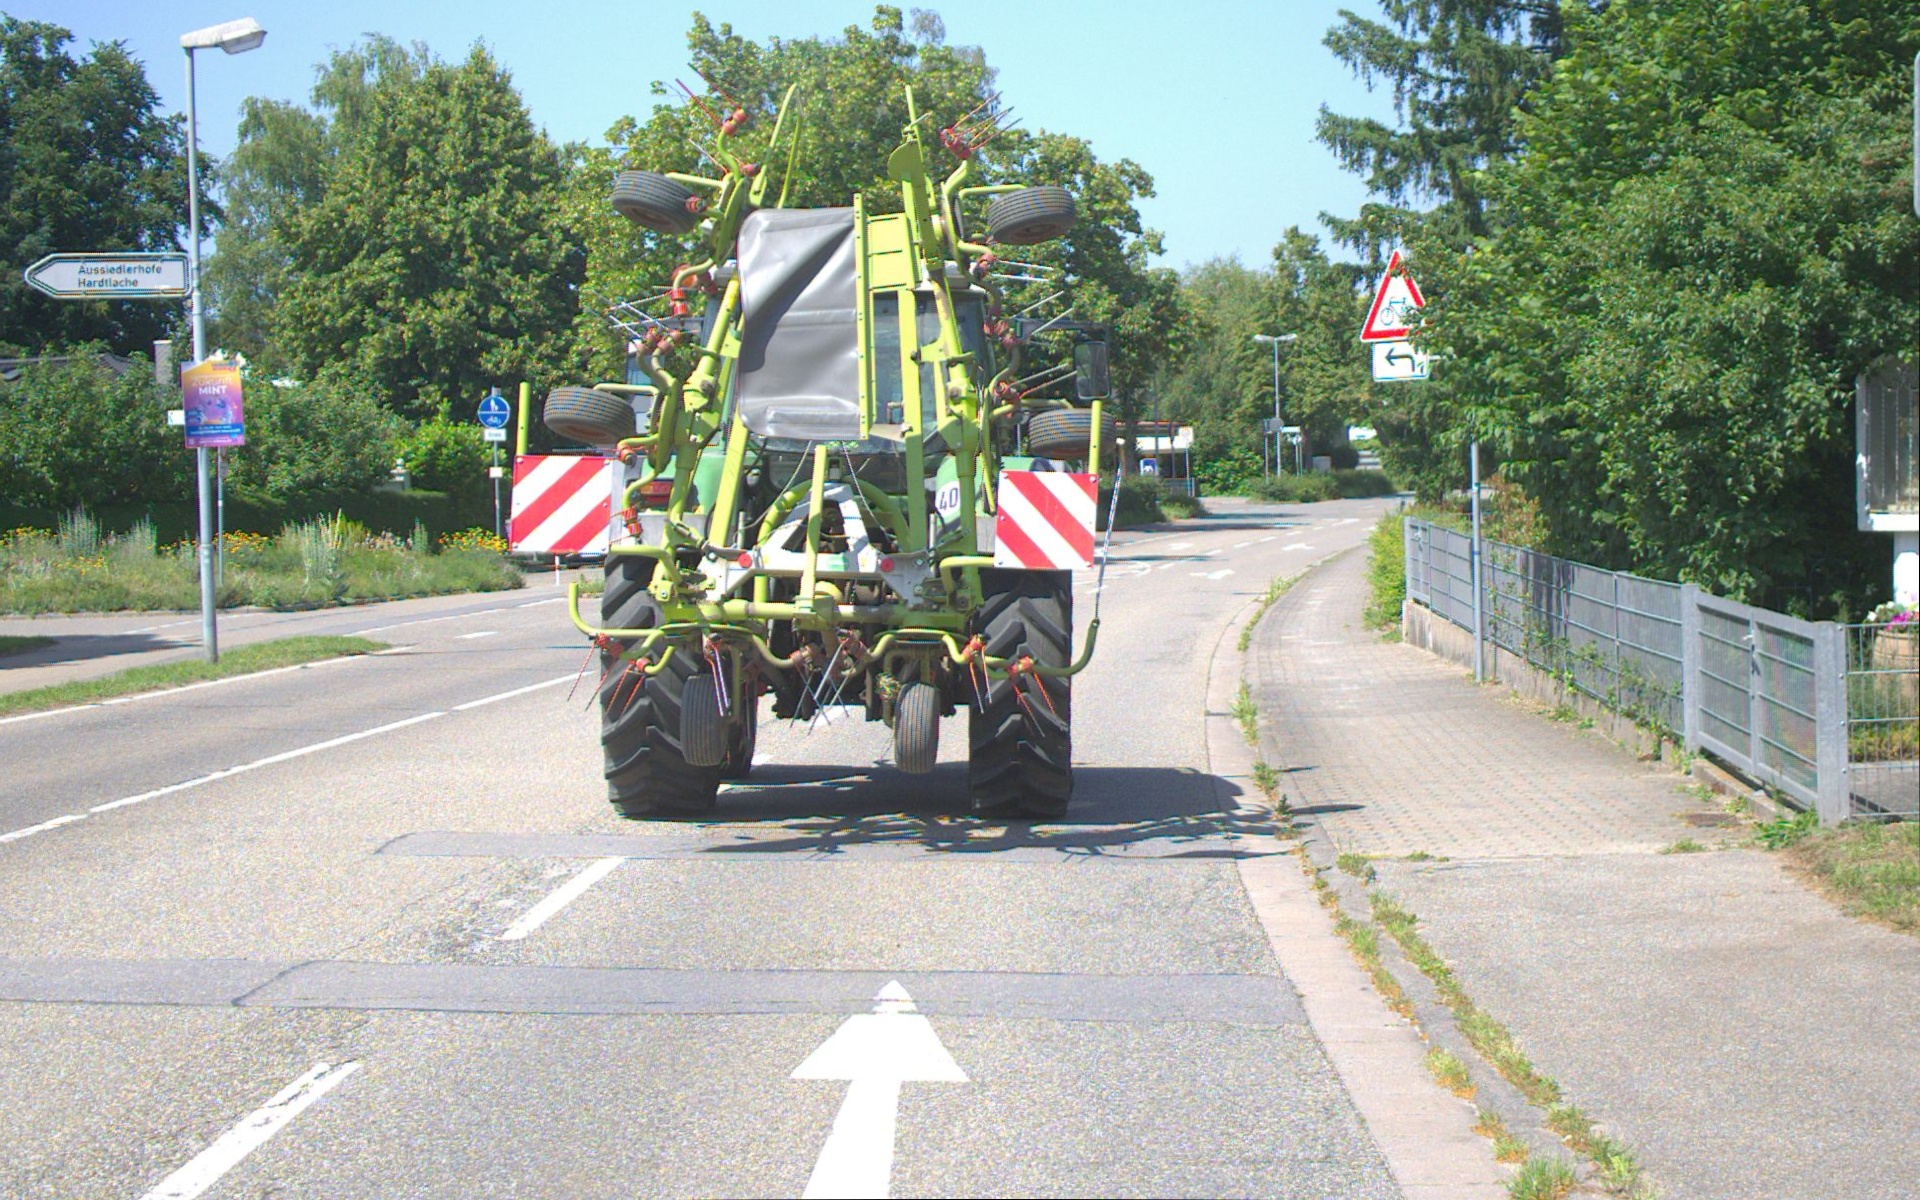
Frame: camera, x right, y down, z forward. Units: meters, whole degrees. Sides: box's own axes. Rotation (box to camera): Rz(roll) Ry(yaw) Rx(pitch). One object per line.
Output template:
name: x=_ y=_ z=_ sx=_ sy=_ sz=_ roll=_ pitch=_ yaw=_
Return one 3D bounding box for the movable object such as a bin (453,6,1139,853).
movable object such as a bin: x=-0.493 y=-0.865 z=19.298 sx=2.853 sy=3.529 sz=9.701 roll=0 pitch=2 yaw=2

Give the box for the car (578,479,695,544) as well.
car: x=-7.748 y=-2.147 z=82.623 sx=1.689 sy=1.524 sz=3.998 roll=0 pitch=2 yaw=12
